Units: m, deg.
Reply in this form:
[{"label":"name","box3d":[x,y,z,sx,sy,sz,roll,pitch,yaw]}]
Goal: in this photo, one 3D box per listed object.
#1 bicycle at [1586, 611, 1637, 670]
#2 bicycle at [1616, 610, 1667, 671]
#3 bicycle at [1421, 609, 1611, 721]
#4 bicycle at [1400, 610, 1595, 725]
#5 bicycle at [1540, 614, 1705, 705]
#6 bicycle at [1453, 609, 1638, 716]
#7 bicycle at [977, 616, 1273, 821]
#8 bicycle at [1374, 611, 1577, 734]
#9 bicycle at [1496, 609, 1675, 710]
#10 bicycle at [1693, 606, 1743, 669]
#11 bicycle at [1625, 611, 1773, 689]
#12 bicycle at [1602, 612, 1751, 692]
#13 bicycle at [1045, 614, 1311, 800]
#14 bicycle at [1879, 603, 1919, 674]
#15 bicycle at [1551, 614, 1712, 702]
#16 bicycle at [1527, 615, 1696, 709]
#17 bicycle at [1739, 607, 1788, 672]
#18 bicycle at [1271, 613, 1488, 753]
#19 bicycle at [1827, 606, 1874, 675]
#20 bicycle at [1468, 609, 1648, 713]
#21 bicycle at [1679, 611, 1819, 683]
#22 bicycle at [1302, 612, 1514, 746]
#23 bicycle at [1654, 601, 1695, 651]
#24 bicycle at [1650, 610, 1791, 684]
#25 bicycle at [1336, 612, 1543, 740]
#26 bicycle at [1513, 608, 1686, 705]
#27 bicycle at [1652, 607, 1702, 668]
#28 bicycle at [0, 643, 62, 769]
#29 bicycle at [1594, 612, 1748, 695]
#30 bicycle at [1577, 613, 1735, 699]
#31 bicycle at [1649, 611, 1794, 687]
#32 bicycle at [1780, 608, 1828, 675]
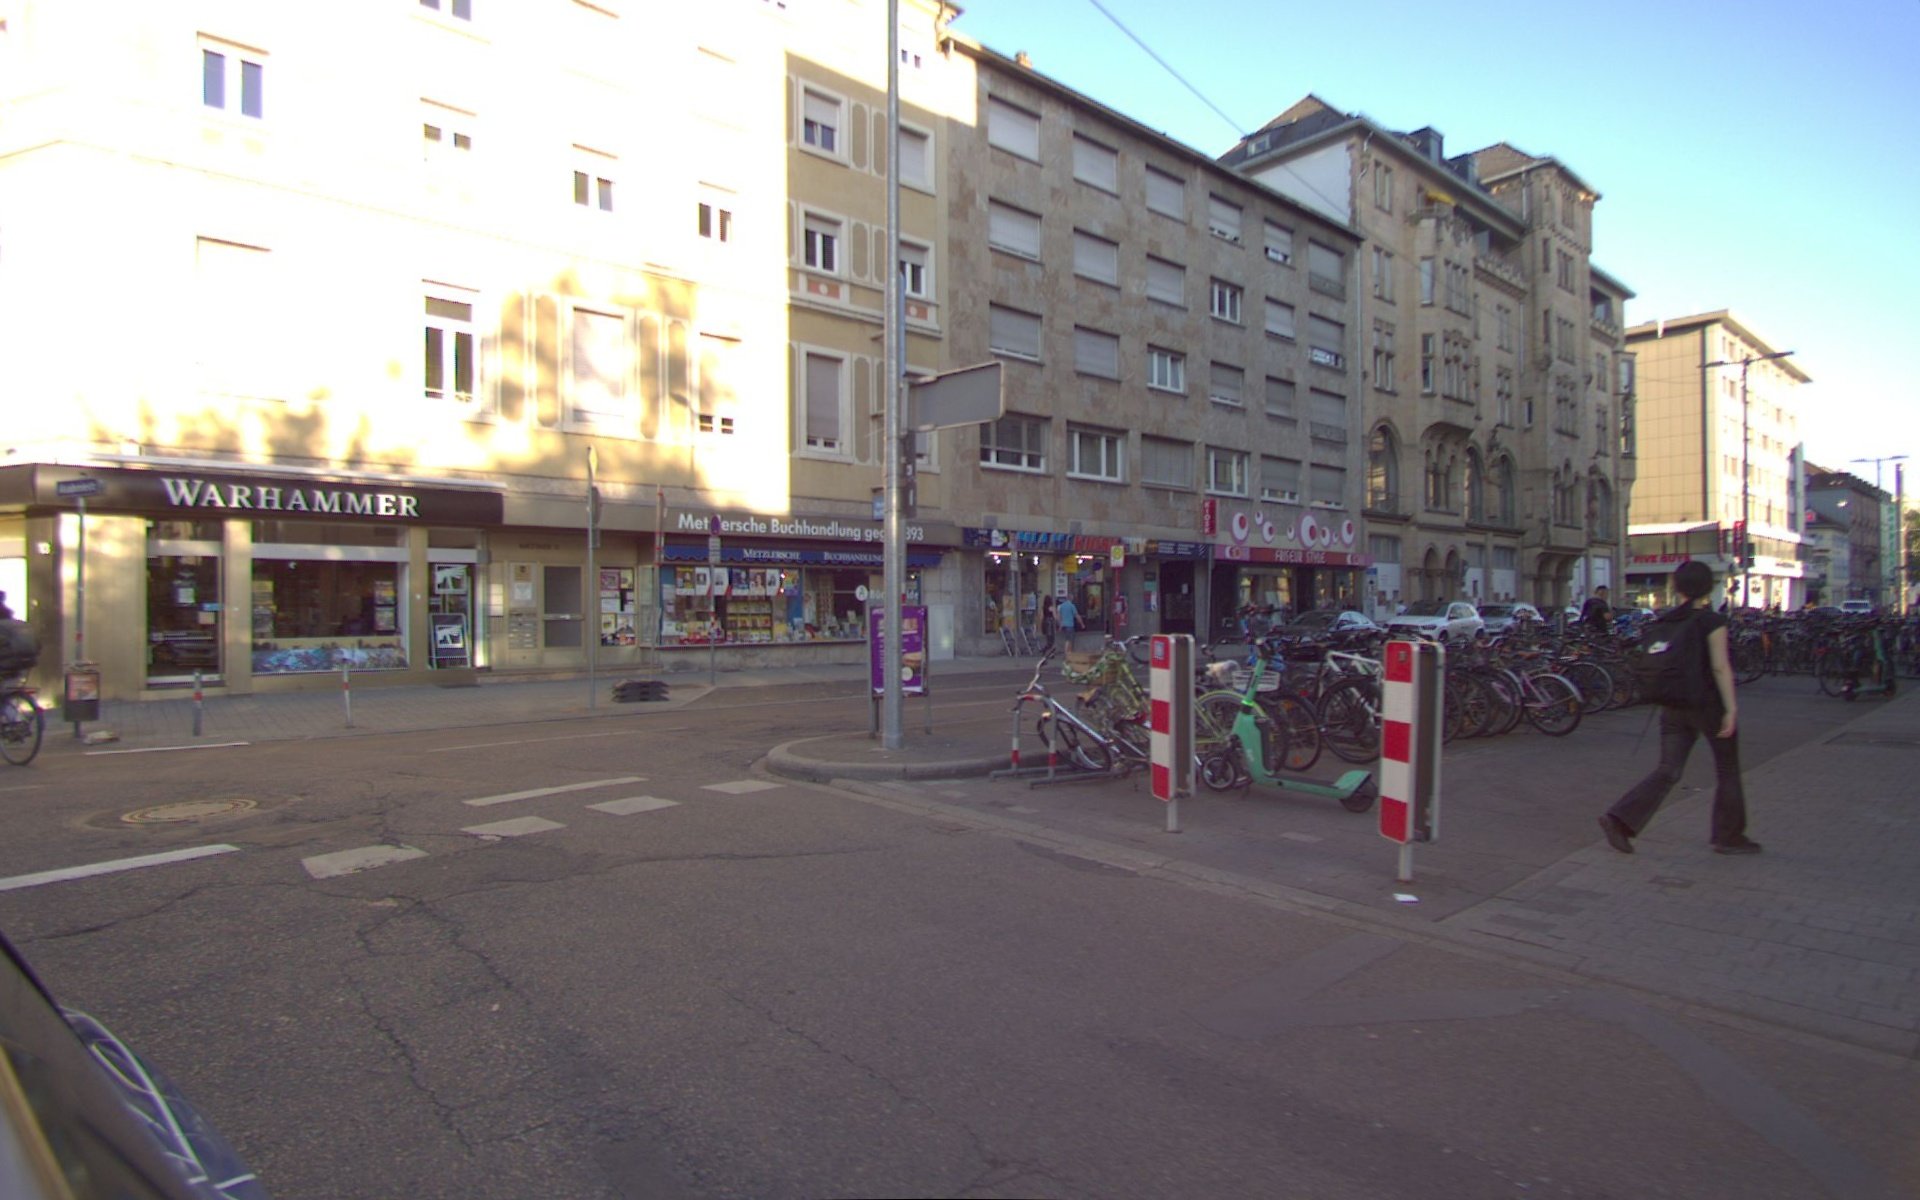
[{"label":"bicycle","box3d":[14.765,0.901,22.920,1.949,1.264,0.514,0,0,-44]},{"label":"bicycle","box3d":[15.092,0.874,22.399,1.949,1.264,0.514,0,0,-44]},{"label":"bicycle","box3d":[6.783,0.749,12.434,0.505,1.264,1.981,0,0,-42]},{"label":"bicycle","box3d":[6.327,0.752,12.010,0.506,1.264,1.980,0,0,-44]},{"label":"bicycle","box3d":[9.818,0.851,15.074,0.505,1.264,1.981,0,0,-42]},{"label":"bicycle","box3d":[7.407,0.752,12.892,0.505,1.264,1.981,0,0,-42]},{"label":"bicycle","box3d":[1.114,0.754,7.330,0.656,1.264,2.142,0,0,-44]},{"label":"bicycle","box3d":[5.755,0.763,11.412,0.505,1.264,1.981,0,0,-42]},{"label":"bicycle","box3d":[8.396,0.755,13.666,0.505,1.264,1.981,0,0,-42]},{"label":"bicycle","box3d":[16.022,0.769,21.368,1.949,1.264,0.514,0,0,-44]},{"label":"bicycle","box3d":[12.701,0.830,17.447,0.505,1.264,1.981,0,0,-42]},{"label":"bicycle","box3d":[12.030,0.835,17.050,0.505,1.264,1.981,0,0,-42]},{"label":"bicycle","box3d":[1.632,0.750,7.886,0.574,1.264,2.046,0,0,-44]},{"label":"bicycle","box3d":[17.779,0.701,19.092,1.949,1.264,0.514,0,0,-44]},{"label":"bicycle","box3d":[10.252,0.848,15.521,0.505,1.264,1.981,0,0,-42]},{"label":"bicycle","box3d":[9.390,0.854,14.663,0.505,1.264,1.981,0,0,-42]},{"label":"bicycle","box3d":[16.525,0.786,20.792,1.949,1.264,0.514,0,0,-44]},{"label":"bicycle","box3d":[4.156,0.770,10.168,0.505,1.264,1.981,0,0,-42]},{"label":"bicycle","box3d":[17.426,0.761,19.797,1.949,1.264,0.514,0,0,-44]},{"label":"bicycle","box3d":[7.824,0.759,13.324,0.505,1.264,1.981,0,0,-42]},{"label":"bicycle","box3d":[14.535,0.832,18.694,0.505,1.264,1.981,0,0,-42]},{"label":"bicycle","box3d":[4.596,0.764,10.521,0.505,1.264,1.981,0,0,-42]},{"label":"bicycle","box3d":[18.691,0.665,26.463,1.949,1.264,0.514,0,0,-44]},{"label":"bicycle","box3d":[13.816,0.822,18.436,0.505,1.264,1.981,0,0,-42]},{"label":"bicycle","box3d":[5.140,0.768,10.971,0.505,1.264,1.981,0,0,-42]},{"label":"bicycle","box3d":[8.882,0.752,14.132,0.505,1.264,1.981,0,0,-42]},{"label":"bicycle","box3d":[15.560,0.784,21.934,1.949,1.264,0.514,0,0,-44]},{"label":"bicycle","box3d":[-9.680,1.009,9.925,1.812,1.147,0.660,-1,0,26]},{"label":"bicycle","box3d":[11.543,0.838,16.490,0.505,1.264,1.981,0,0,-42]},{"label":"bicycle","box3d":[10.932,0.843,15.949,0.505,1.264,1.981,0,0,-42]},{"label":"bicycle","box3d":[13.386,0.825,17.850,0.505,1.264,1.981,0,0,-42]},{"label":"bicycle","box3d":[16.976,0.806,20.331,1.949,1.264,0.514,0,0,-44]}]
